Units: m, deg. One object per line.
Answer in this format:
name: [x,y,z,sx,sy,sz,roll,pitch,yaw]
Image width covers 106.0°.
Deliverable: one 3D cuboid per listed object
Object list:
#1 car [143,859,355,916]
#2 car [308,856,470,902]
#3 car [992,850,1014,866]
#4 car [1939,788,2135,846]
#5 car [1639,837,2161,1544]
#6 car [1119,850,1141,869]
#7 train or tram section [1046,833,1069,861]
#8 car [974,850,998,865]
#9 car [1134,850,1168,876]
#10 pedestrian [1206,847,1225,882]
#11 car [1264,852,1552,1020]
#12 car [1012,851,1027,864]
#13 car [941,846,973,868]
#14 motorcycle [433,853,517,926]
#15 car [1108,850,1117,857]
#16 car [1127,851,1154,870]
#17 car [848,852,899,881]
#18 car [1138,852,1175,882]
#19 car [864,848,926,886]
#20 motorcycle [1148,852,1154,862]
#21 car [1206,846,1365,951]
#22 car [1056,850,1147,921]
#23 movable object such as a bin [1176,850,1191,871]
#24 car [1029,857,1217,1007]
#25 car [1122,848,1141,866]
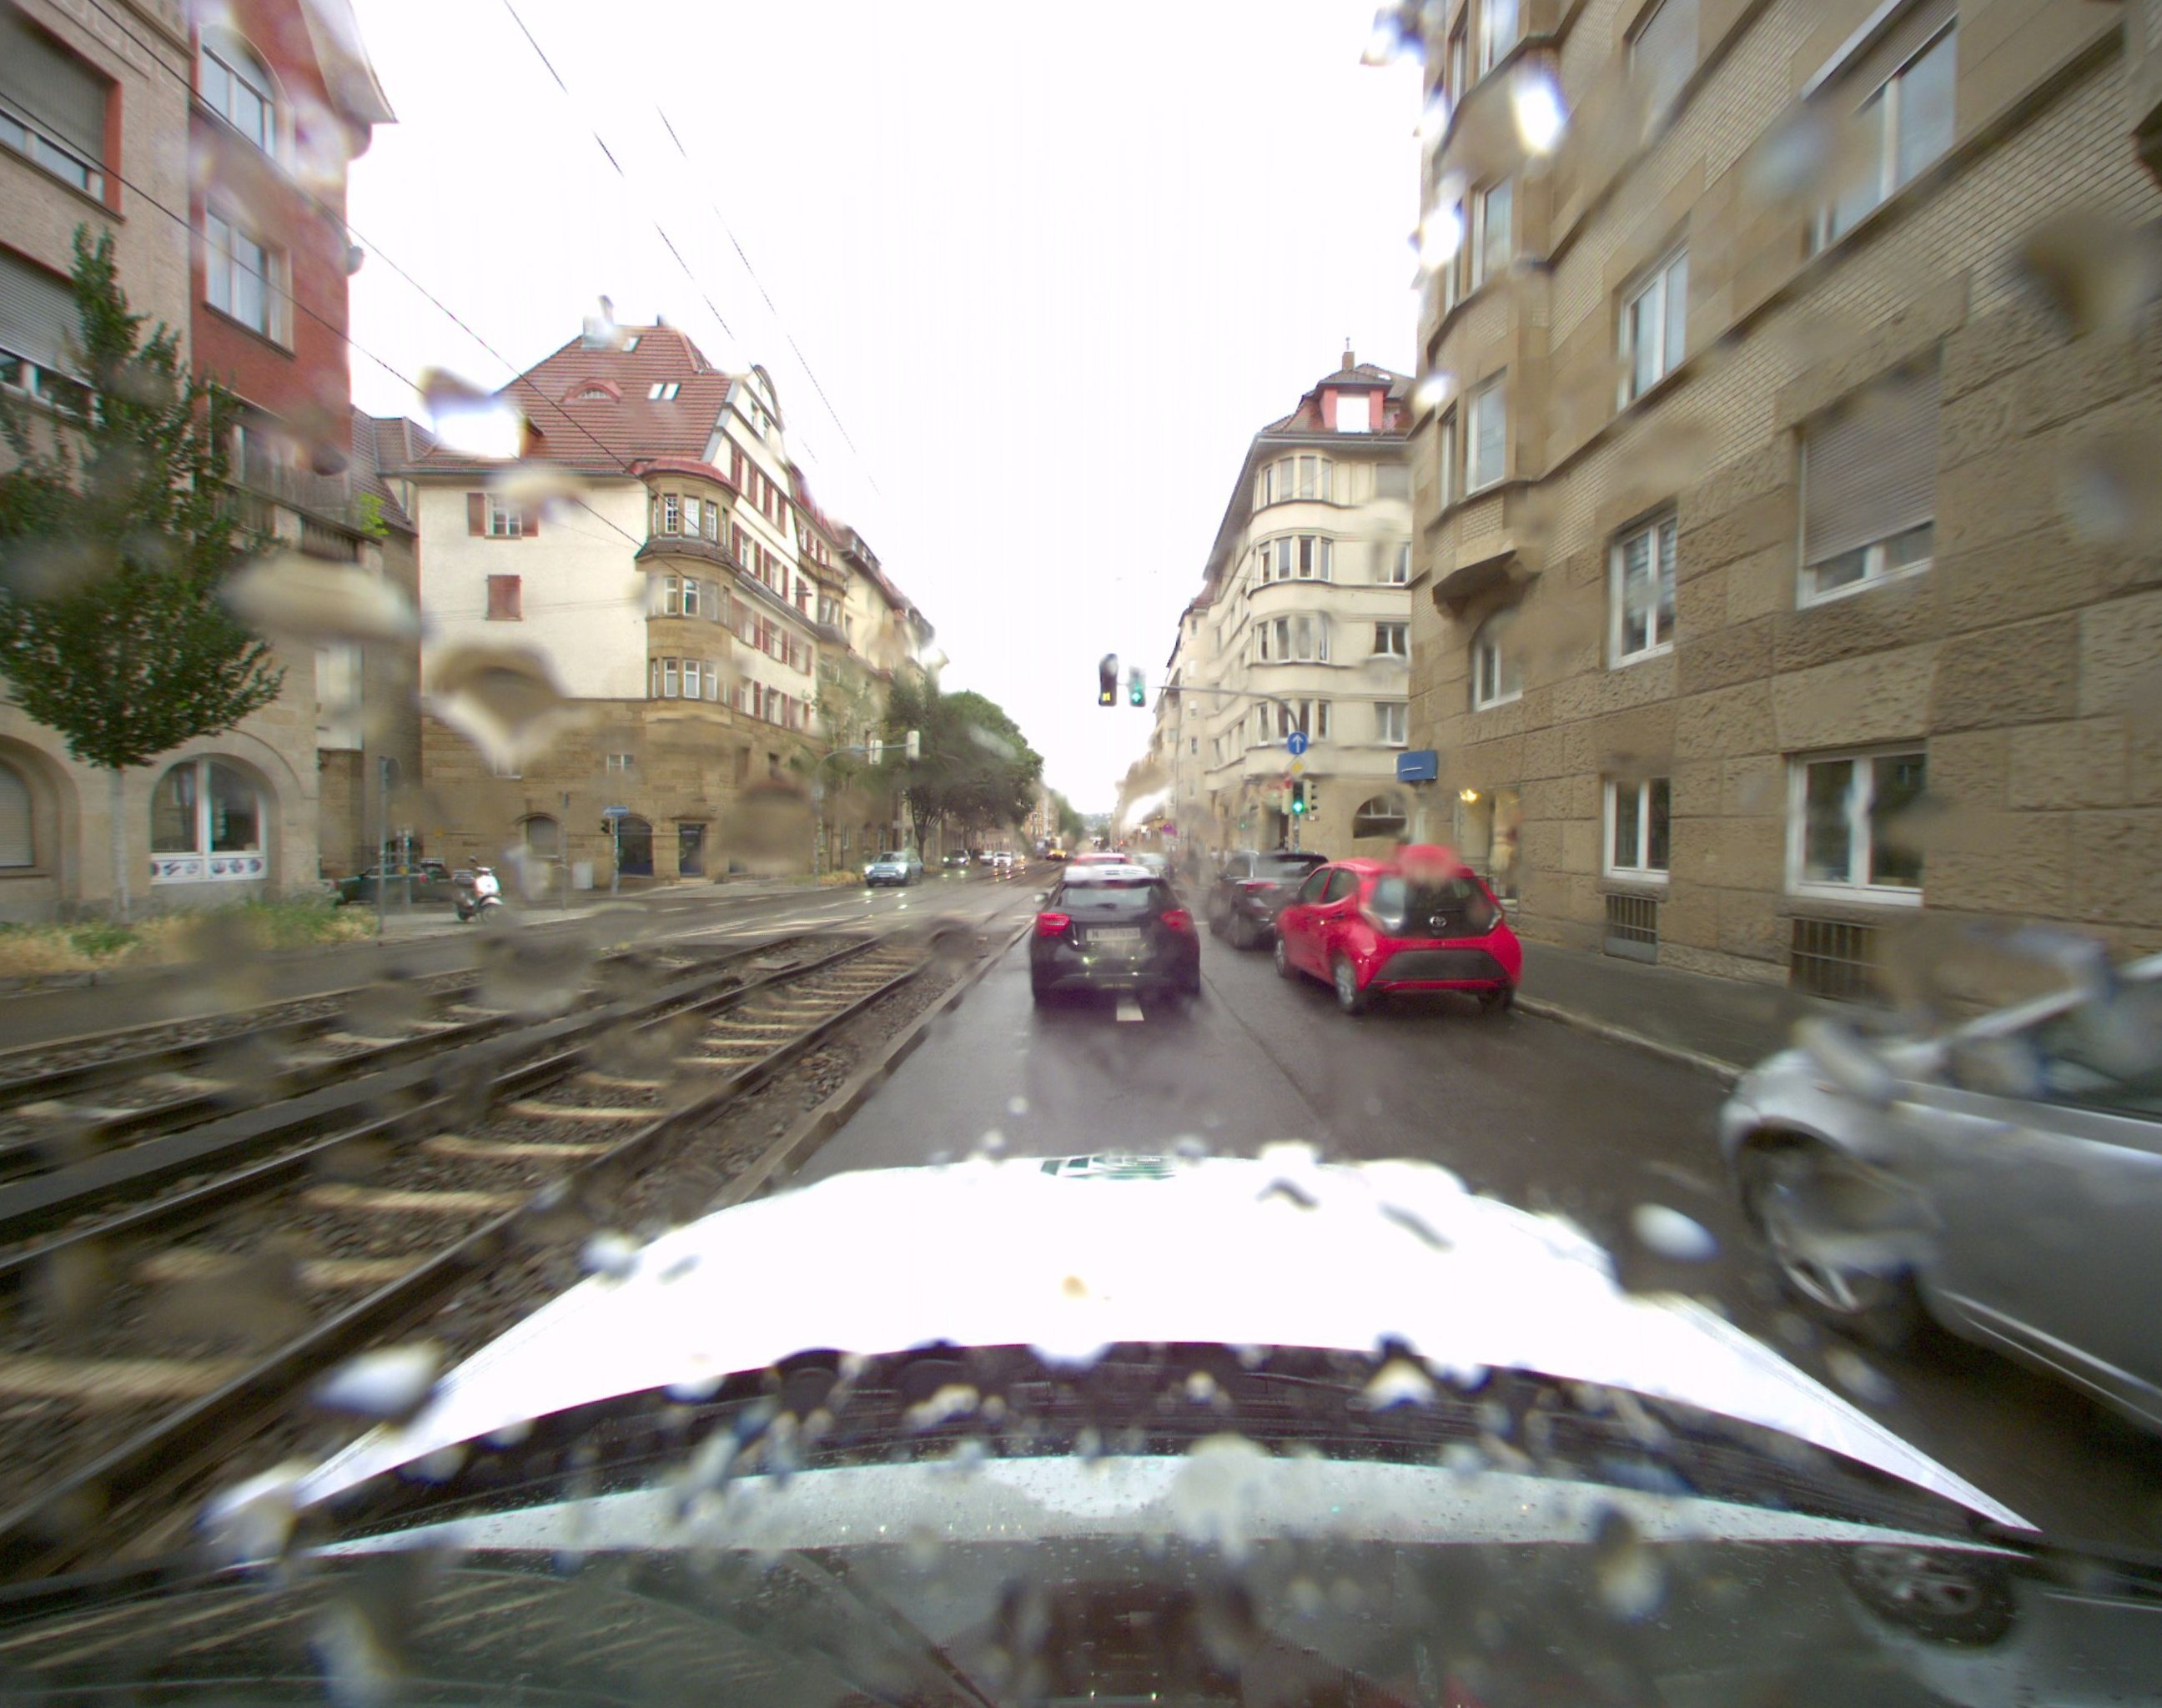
car: [-22.534,0.885,22.168,3.972,1.467,1.747,0,-1,1]
car: [-24.526,0.866,28.989,3.977,1.574,1.998,0,-1,-2]
car: [-7.595,0.401,79.720,1.775,1.502,4.062,0,-1,0]
car: [32.794,-1.233,28.036,4.344,1.569,1.978,-4,-3,-1]
car: [3.054,0.696,1.591,1.588,1.487,3.524,-1,0,2]
car: [4.413,0.483,73.070,1.833,1.608,4.765,0,-1,4]
train or tram section: [-3.473,-1.041,124.890,2.736,4.061,17.216,0,0,1]
car: [-10.232,0.366,88.117,1.954,1.605,4.329,1,0,0]
car: [4.033,0.514,47.601,1.705,1.468,4.775,0,-1,2]
pedestrian: [6.576,0.504,39.942,0.801,1.687,0.754,0,-1,1]
car: [3.276,0.724,8.919,1.700,1.453,3.531,1,0,-1]
car: [-7.465,0.432,98.628,1.649,1.462,3.731,-1,0,-3]
car: [-10.751,0.201,70.790,1.946,1.742,4.778,3,1,0]
motorcycle: [-12.088,0.685,16.225,1.761,1.375,0.772,-1,-1,33]
car: [6.627,-0.078,171.899,1.879,1.525,4.249,1,0,3]
car: [4.397,0.494,60.472,1.783,1.385,4.396,0,-1,1]
car: [-11.278,0.667,44.476,1.684,1.529,4.175,0,-1,0]
car: [3.830,0.659,42.043,1.703,1.410,4.821,0,-1,3]
car: [-8.519,0.588,37.589,1.915,1.617,4.128,0,-1,0]
motorcycle: [8.754,0.409,101.928,0.554,1.160,2.271,-4,0,4]
car: [3.371,0.666,14.194,1.860,1.549,3.992,1,0,2]
car: [0.514,0.679,19.883,1.986,1.525,4.247,1,0,2]
movable object such as a bin: [7.320,0.486,58.202,0.976,1.468,1.273,0,-1,1]
car: [0.466,0.768,9.872,1.828,1.453,3.903,0,0,2]
car: [4.844,0.304,79.126,1.771,1.750,4.551,0,-1,2]
